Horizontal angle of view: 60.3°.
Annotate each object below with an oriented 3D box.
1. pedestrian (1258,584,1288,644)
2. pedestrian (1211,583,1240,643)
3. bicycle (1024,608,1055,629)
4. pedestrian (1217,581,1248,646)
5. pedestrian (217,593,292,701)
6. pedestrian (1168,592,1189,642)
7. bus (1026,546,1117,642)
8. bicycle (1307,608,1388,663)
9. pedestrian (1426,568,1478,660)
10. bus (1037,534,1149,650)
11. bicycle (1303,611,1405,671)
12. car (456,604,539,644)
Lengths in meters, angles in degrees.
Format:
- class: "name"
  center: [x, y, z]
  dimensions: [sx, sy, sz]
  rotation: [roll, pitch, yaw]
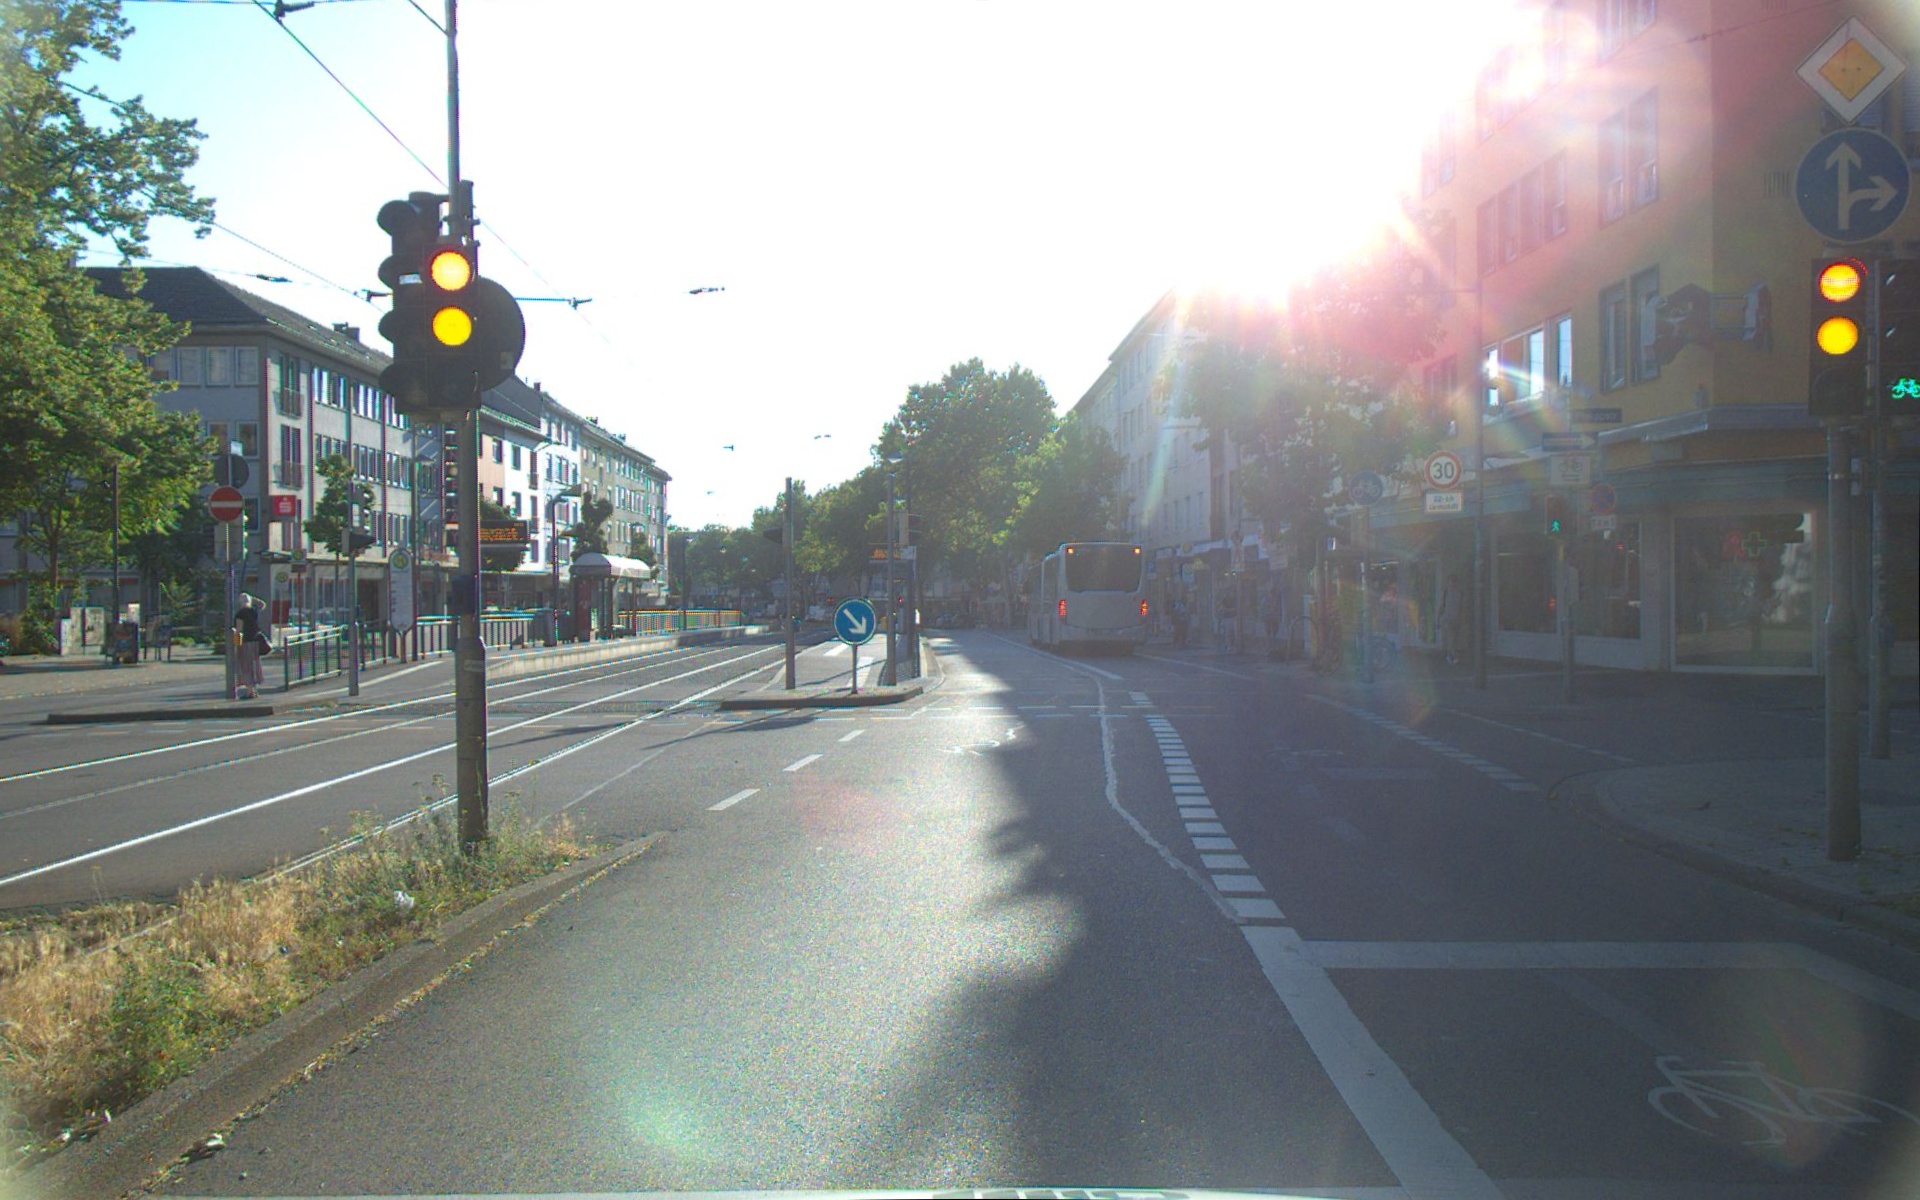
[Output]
- class: "pedestrian"
  center: [9.273, 0.401, 49.062]
  dimensions: [0.709, 1.753, 0.766]
  rotation: [-1, -1, -2]
- class: "pedestrian"
  center: [8.120, 0.407, 50.631]
  dimensions: [0.709, 1.810, 0.766]
  rotation: [-1, -1, -2]
- class: "bicycle"
  center: [4.847, 1.138, 101.007]
  dimensions: [1.848, 1.096, 0.754]
  rotation: [-5, 0, 1]
- class: "pedestrian"
  center: [7.774, 0.392, 47.263]
  dimensions: [0.709, 1.838, 0.766]
  rotation: [-1, -1, -2]
- class: "pedestrian"
  center: [-12.046, 0.793, 28.267]
  dimensions: [0.900, 1.791, 0.832]
  rotation: [-1, -1, 0]
- class: "pedestrian"
  center: [7.096, 0.533, 53.792]
  dimensions: [0.597, 1.606, 0.851]
  rotation: [-1, 0, 2]
- class: "bus"
  center: [3.887, -0.184, 59.465]
  dimensions: [2.641, 3.173, 9.069]
  rotation: [0, 0, 0]
- class: "bicycle"
  center: [7.492, 0.677, 31.988]
  dimensions: [1.453, 1.026, 0.454]
  rotation: [-1, 0, -5]
- class: "pedestrian"
  center: [9.821, 0.278, 33.017]
  dimensions: [0.728, 1.811, 0.894]
  rotation: [-1, -1, -2]
- class: "bus"
  center: [3.873, -0.207, 50.255]
  dimensions: [2.641, 3.173, 9.380]
  rotation: [0, 0, 0]
- class: "bicycle"
  center: [7.452, 0.769, 31.306]
  dimensions: [1.763, 1.026, 0.540]
  rotation: [-3, 0, -5]
- class: "car"
  center: [-21.589, 1.104, 77.284]
  dimensions: [1.733, 1.709, 3.502]
  rotation: [-1, 1, 32]
